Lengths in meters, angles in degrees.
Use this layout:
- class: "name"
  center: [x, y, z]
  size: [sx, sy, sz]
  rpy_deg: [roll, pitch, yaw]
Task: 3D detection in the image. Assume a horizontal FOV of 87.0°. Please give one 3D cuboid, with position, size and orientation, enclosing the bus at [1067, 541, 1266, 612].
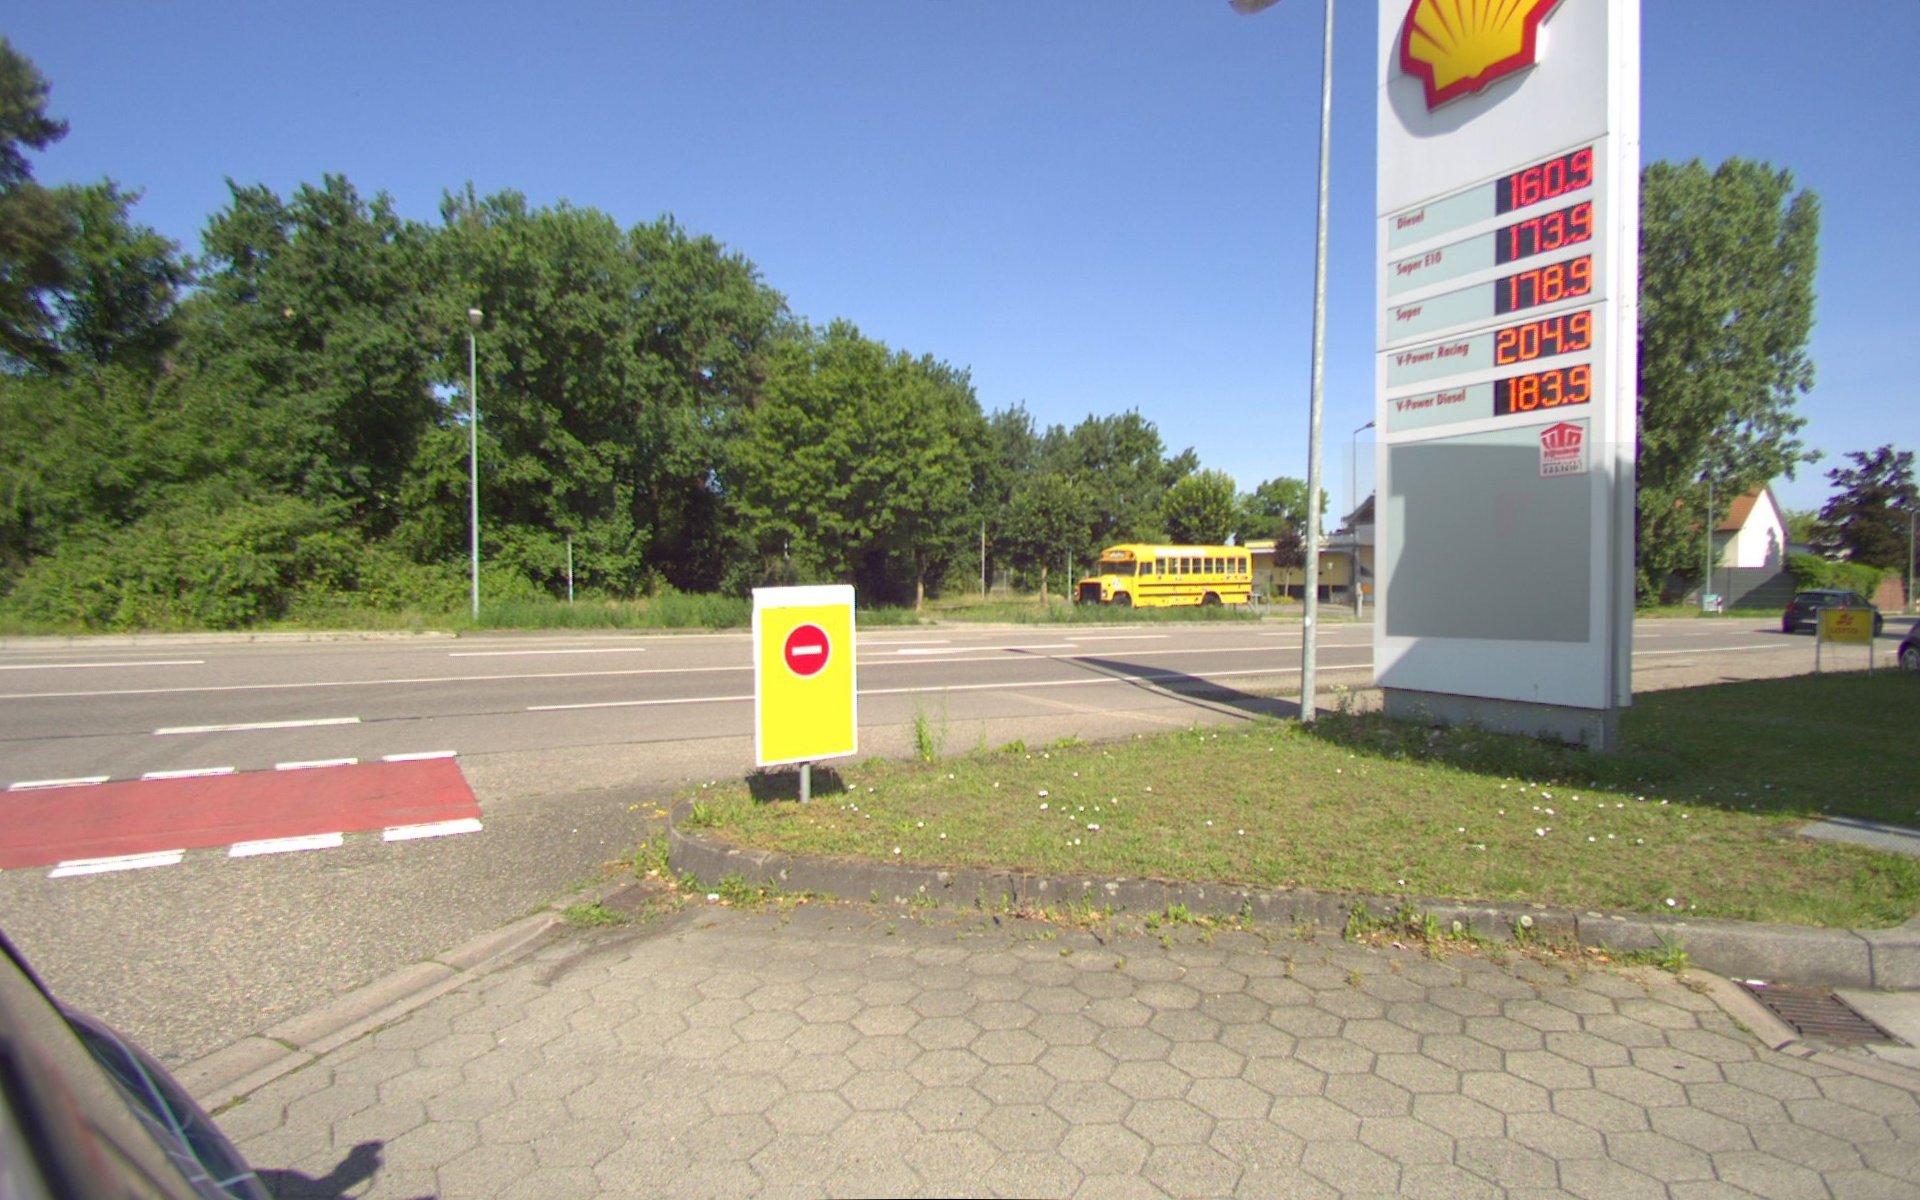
- class: "bus"
  center: [8.724, -0.913, 42.162]
  size: [8.846, 2.699, 2.595]
  rpy_deg: [0, 2, -34]

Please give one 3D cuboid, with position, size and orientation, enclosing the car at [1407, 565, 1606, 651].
- class: "car"
  center: [11.699, 0.131, 21.603]
  size: [4.234, 1.660, 1.819]
  rpy_deg: [0, 2, -32]

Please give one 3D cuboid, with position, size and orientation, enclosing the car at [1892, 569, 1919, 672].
- class: "car"
  center: [14.918, 0.341, 14.124]
  size: [1.562, 1.541, 2.720]
  rpy_deg: [2, 1, 12]

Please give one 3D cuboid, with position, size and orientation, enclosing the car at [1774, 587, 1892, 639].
- class: "car"
  center: [27.148, 0.357, 31.444]
  size: [3.986, 1.441, 1.656]
  rpy_deg: [0, 3, -33]
